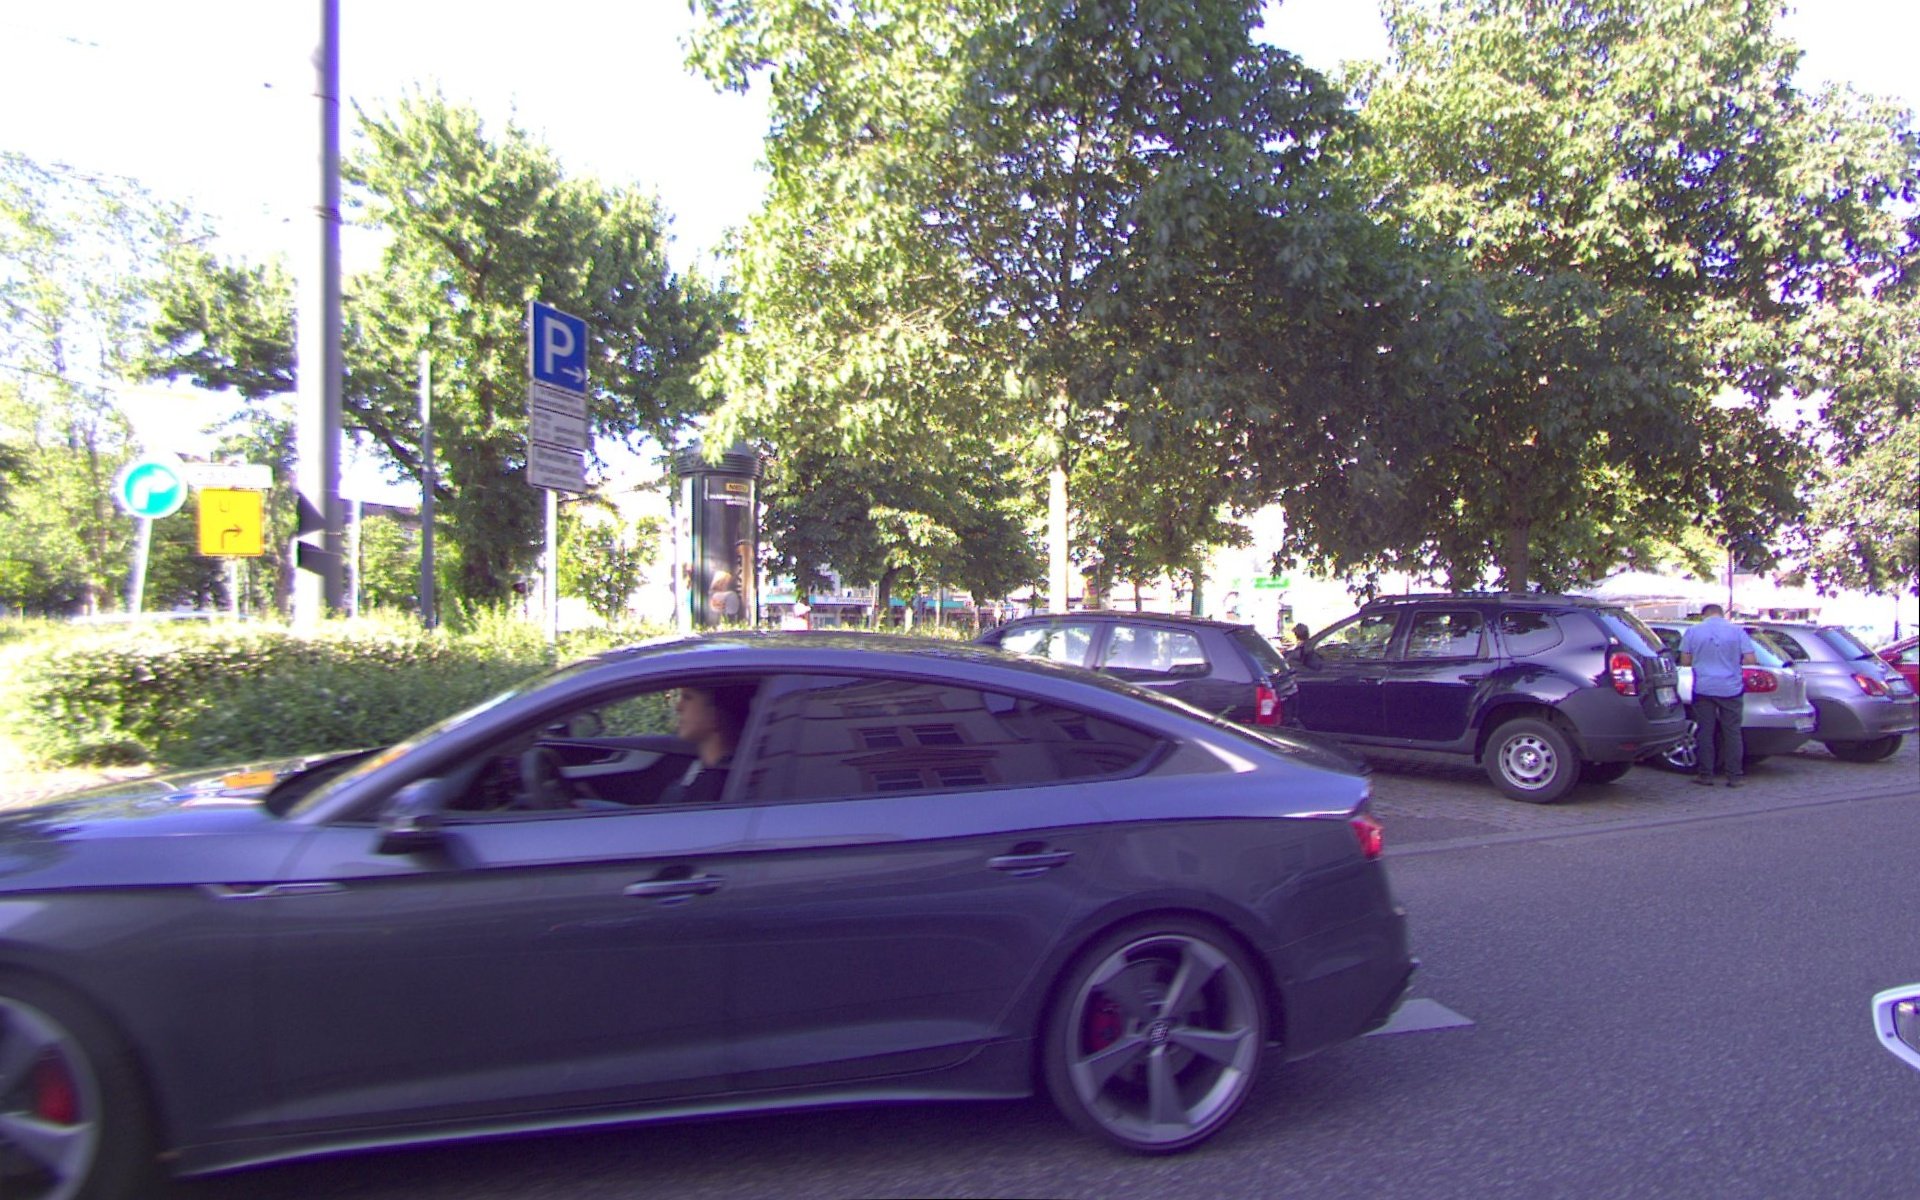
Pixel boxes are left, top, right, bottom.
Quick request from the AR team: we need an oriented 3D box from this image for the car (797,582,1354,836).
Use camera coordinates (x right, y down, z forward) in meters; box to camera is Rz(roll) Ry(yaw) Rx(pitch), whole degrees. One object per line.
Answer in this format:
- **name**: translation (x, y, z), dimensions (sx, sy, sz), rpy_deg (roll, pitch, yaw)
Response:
- **car**: translation (0.867, 0.675, 7.938), dimensions (3.928, 1.489, 1.871), rpy_deg (2, -1, 30)

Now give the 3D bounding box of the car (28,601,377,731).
- **car**: translation (-11.327, 0.952, 15.365), dimensions (1.777, 1.704, 3.870), rpy_deg (0, -2, 21)

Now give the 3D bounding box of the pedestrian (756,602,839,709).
- **pedestrian**: translation (-2.471, 0.827, 15.310), dimensions (0.757, 1.542, 0.956), rpy_deg (2, 0, 33)

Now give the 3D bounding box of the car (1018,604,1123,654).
- **car**: translation (5.714, 1.487, 52.403), dimensions (5.275, 2.344, 1.990), rpy_deg (2, -1, 42)

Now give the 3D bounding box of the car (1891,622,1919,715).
- **car**: translation (17.503, 1.181, 15.661), dimensions (4.167, 1.496, 1.729), rpy_deg (2, 0, 37)

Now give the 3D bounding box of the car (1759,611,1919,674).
- **car**: translation (29.190, 1.367, 32.460), dimensions (5.198, 1.823, 2.155), rpy_deg (2, -1, 38)

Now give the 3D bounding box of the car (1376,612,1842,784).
- **car**: translation (6.954, 0.929, 11.151), dimensions (1.785, 1.467, 3.960), rpy_deg (2, -1, -35)

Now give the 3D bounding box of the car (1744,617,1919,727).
- **car**: translation (14.530, 1.085, 14.656), dimensions (4.779, 1.508, 1.756), rpy_deg (2, -1, 41)

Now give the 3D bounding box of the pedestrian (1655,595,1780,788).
- **pedestrian**: translation (6.899, 0.802, 9.154), dimensions (0.639, 1.671, 0.695), rpy_deg (2, 0, -32)

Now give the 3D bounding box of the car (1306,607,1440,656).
- **car**: translation (19.401, 1.445, 47.354), dimensions (5.506, 2.040, 1.810), rpy_deg (2, -1, 38)

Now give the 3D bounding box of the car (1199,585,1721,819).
- **car**: translation (4.500, 0.740, 9.476), dimensions (1.985, 1.690, 3.951), rpy_deg (1, 0, -41)

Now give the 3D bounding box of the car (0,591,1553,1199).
- **car**: translation (-0.813, 0.773, 3.285), dimensions (4.728, 1.435, 1.913), rpy_deg (2, -1, -13)

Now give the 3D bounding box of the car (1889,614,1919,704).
- **car**: translation (19.161, 1.139, 17.645), dimensions (3.936, 1.607, 1.824), rpy_deg (2, 0, 37)

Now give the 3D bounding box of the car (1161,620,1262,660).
- **car**: translation (13.141, 2.061, 52.612), dimensions (4.803, 1.828, 1.899), rpy_deg (1, -1, 43)

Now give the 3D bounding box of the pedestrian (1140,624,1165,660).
- **pedestrian**: translation (6.966, 1.510, 36.337), dimensions (0.552, 1.253, 0.667), rpy_deg (2, 0, -33)

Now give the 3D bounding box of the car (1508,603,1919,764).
- **car**: translation (9.262, 0.899, 12.517), dimensions (1.728, 1.619, 3.970), rpy_deg (2, -1, -29)

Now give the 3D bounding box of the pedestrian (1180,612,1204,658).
- **pedestrian**: translation (8.133, 1.216, 35.220), dimensions (0.548, 1.567, 0.672), rpy_deg (2, 0, -9)
